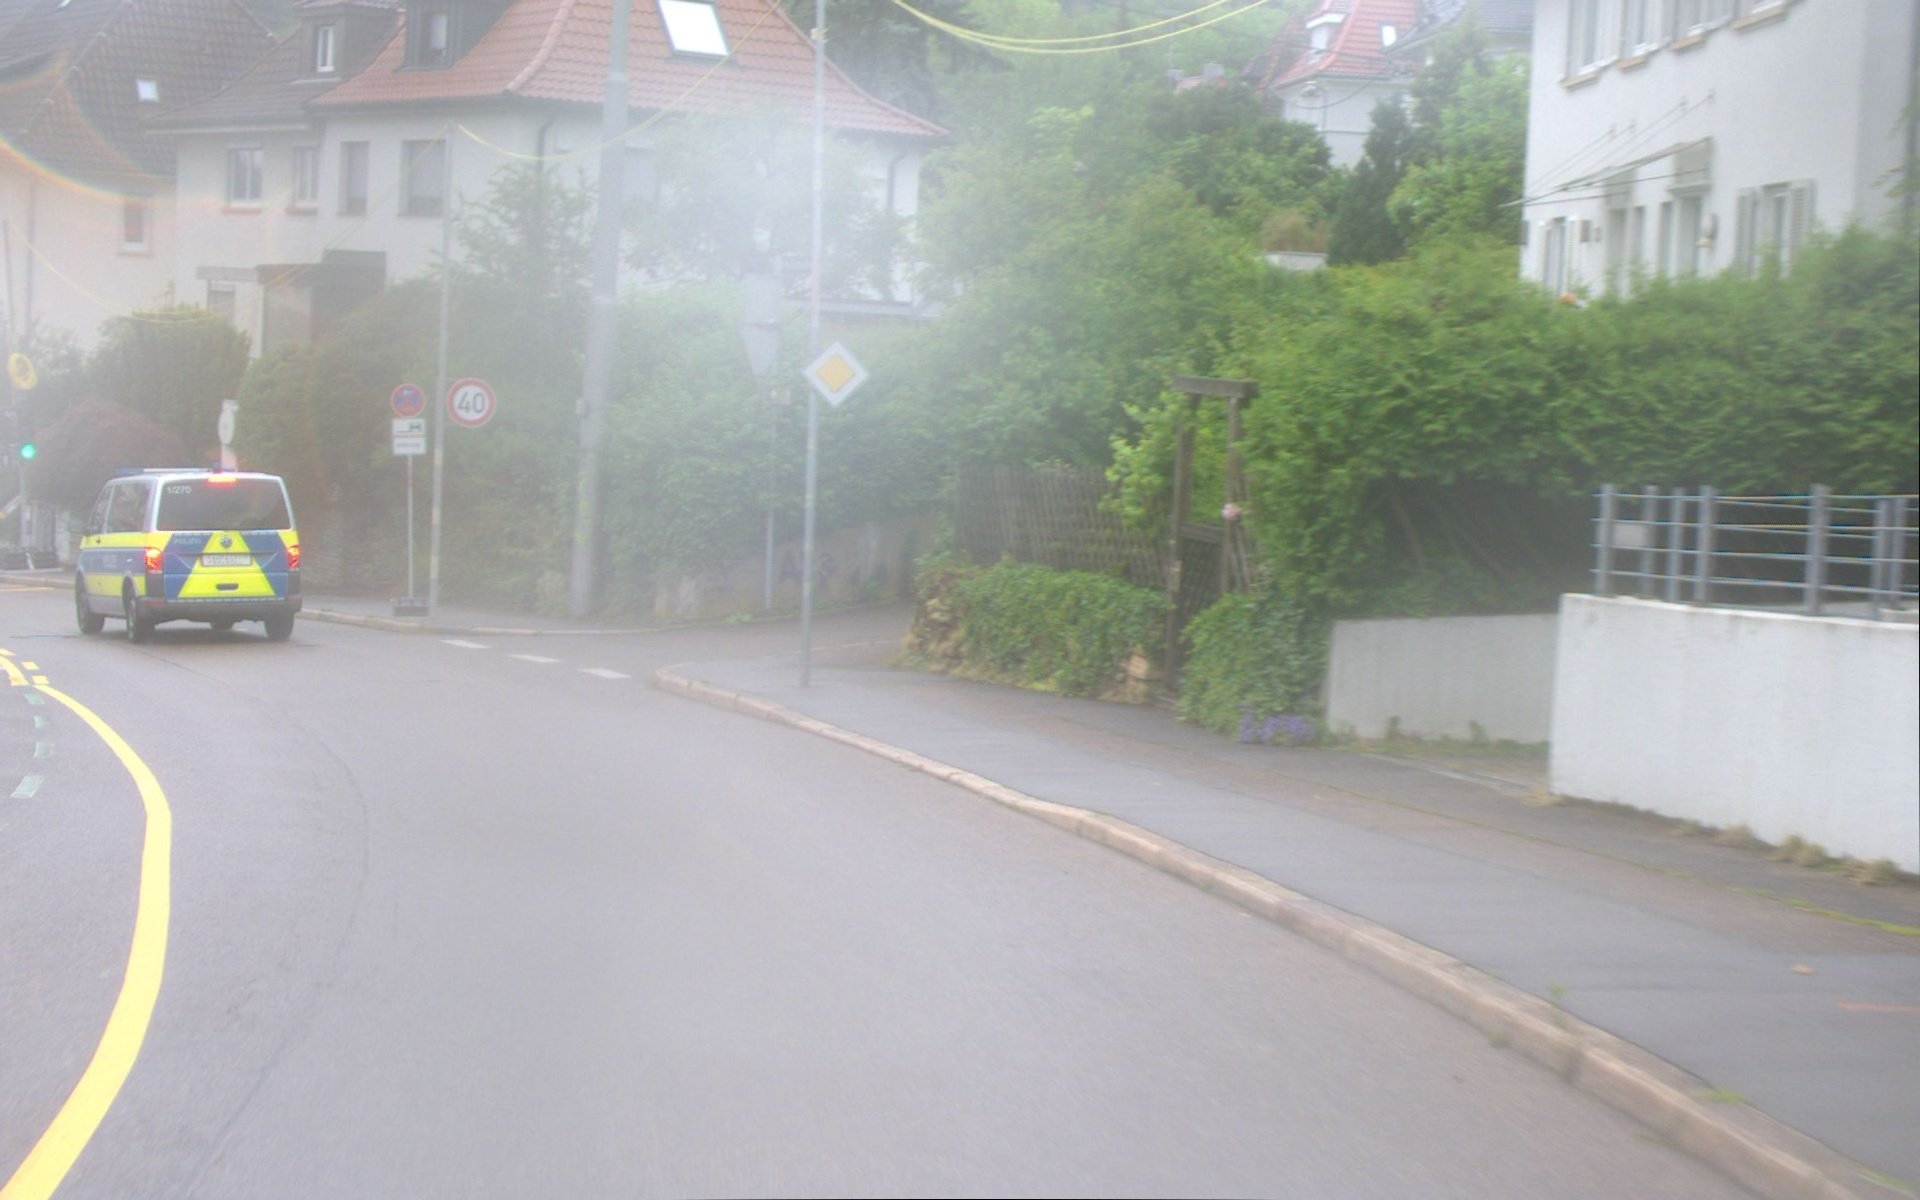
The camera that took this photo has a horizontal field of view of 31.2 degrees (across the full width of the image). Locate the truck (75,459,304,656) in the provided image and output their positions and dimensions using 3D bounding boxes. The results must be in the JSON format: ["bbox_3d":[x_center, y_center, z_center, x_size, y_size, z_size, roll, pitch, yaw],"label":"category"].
[{"bbox_3d":[-9.198,-0.562,40.747,1.993,2.006,4.737,0,4,-21],"label":"truck"}]
